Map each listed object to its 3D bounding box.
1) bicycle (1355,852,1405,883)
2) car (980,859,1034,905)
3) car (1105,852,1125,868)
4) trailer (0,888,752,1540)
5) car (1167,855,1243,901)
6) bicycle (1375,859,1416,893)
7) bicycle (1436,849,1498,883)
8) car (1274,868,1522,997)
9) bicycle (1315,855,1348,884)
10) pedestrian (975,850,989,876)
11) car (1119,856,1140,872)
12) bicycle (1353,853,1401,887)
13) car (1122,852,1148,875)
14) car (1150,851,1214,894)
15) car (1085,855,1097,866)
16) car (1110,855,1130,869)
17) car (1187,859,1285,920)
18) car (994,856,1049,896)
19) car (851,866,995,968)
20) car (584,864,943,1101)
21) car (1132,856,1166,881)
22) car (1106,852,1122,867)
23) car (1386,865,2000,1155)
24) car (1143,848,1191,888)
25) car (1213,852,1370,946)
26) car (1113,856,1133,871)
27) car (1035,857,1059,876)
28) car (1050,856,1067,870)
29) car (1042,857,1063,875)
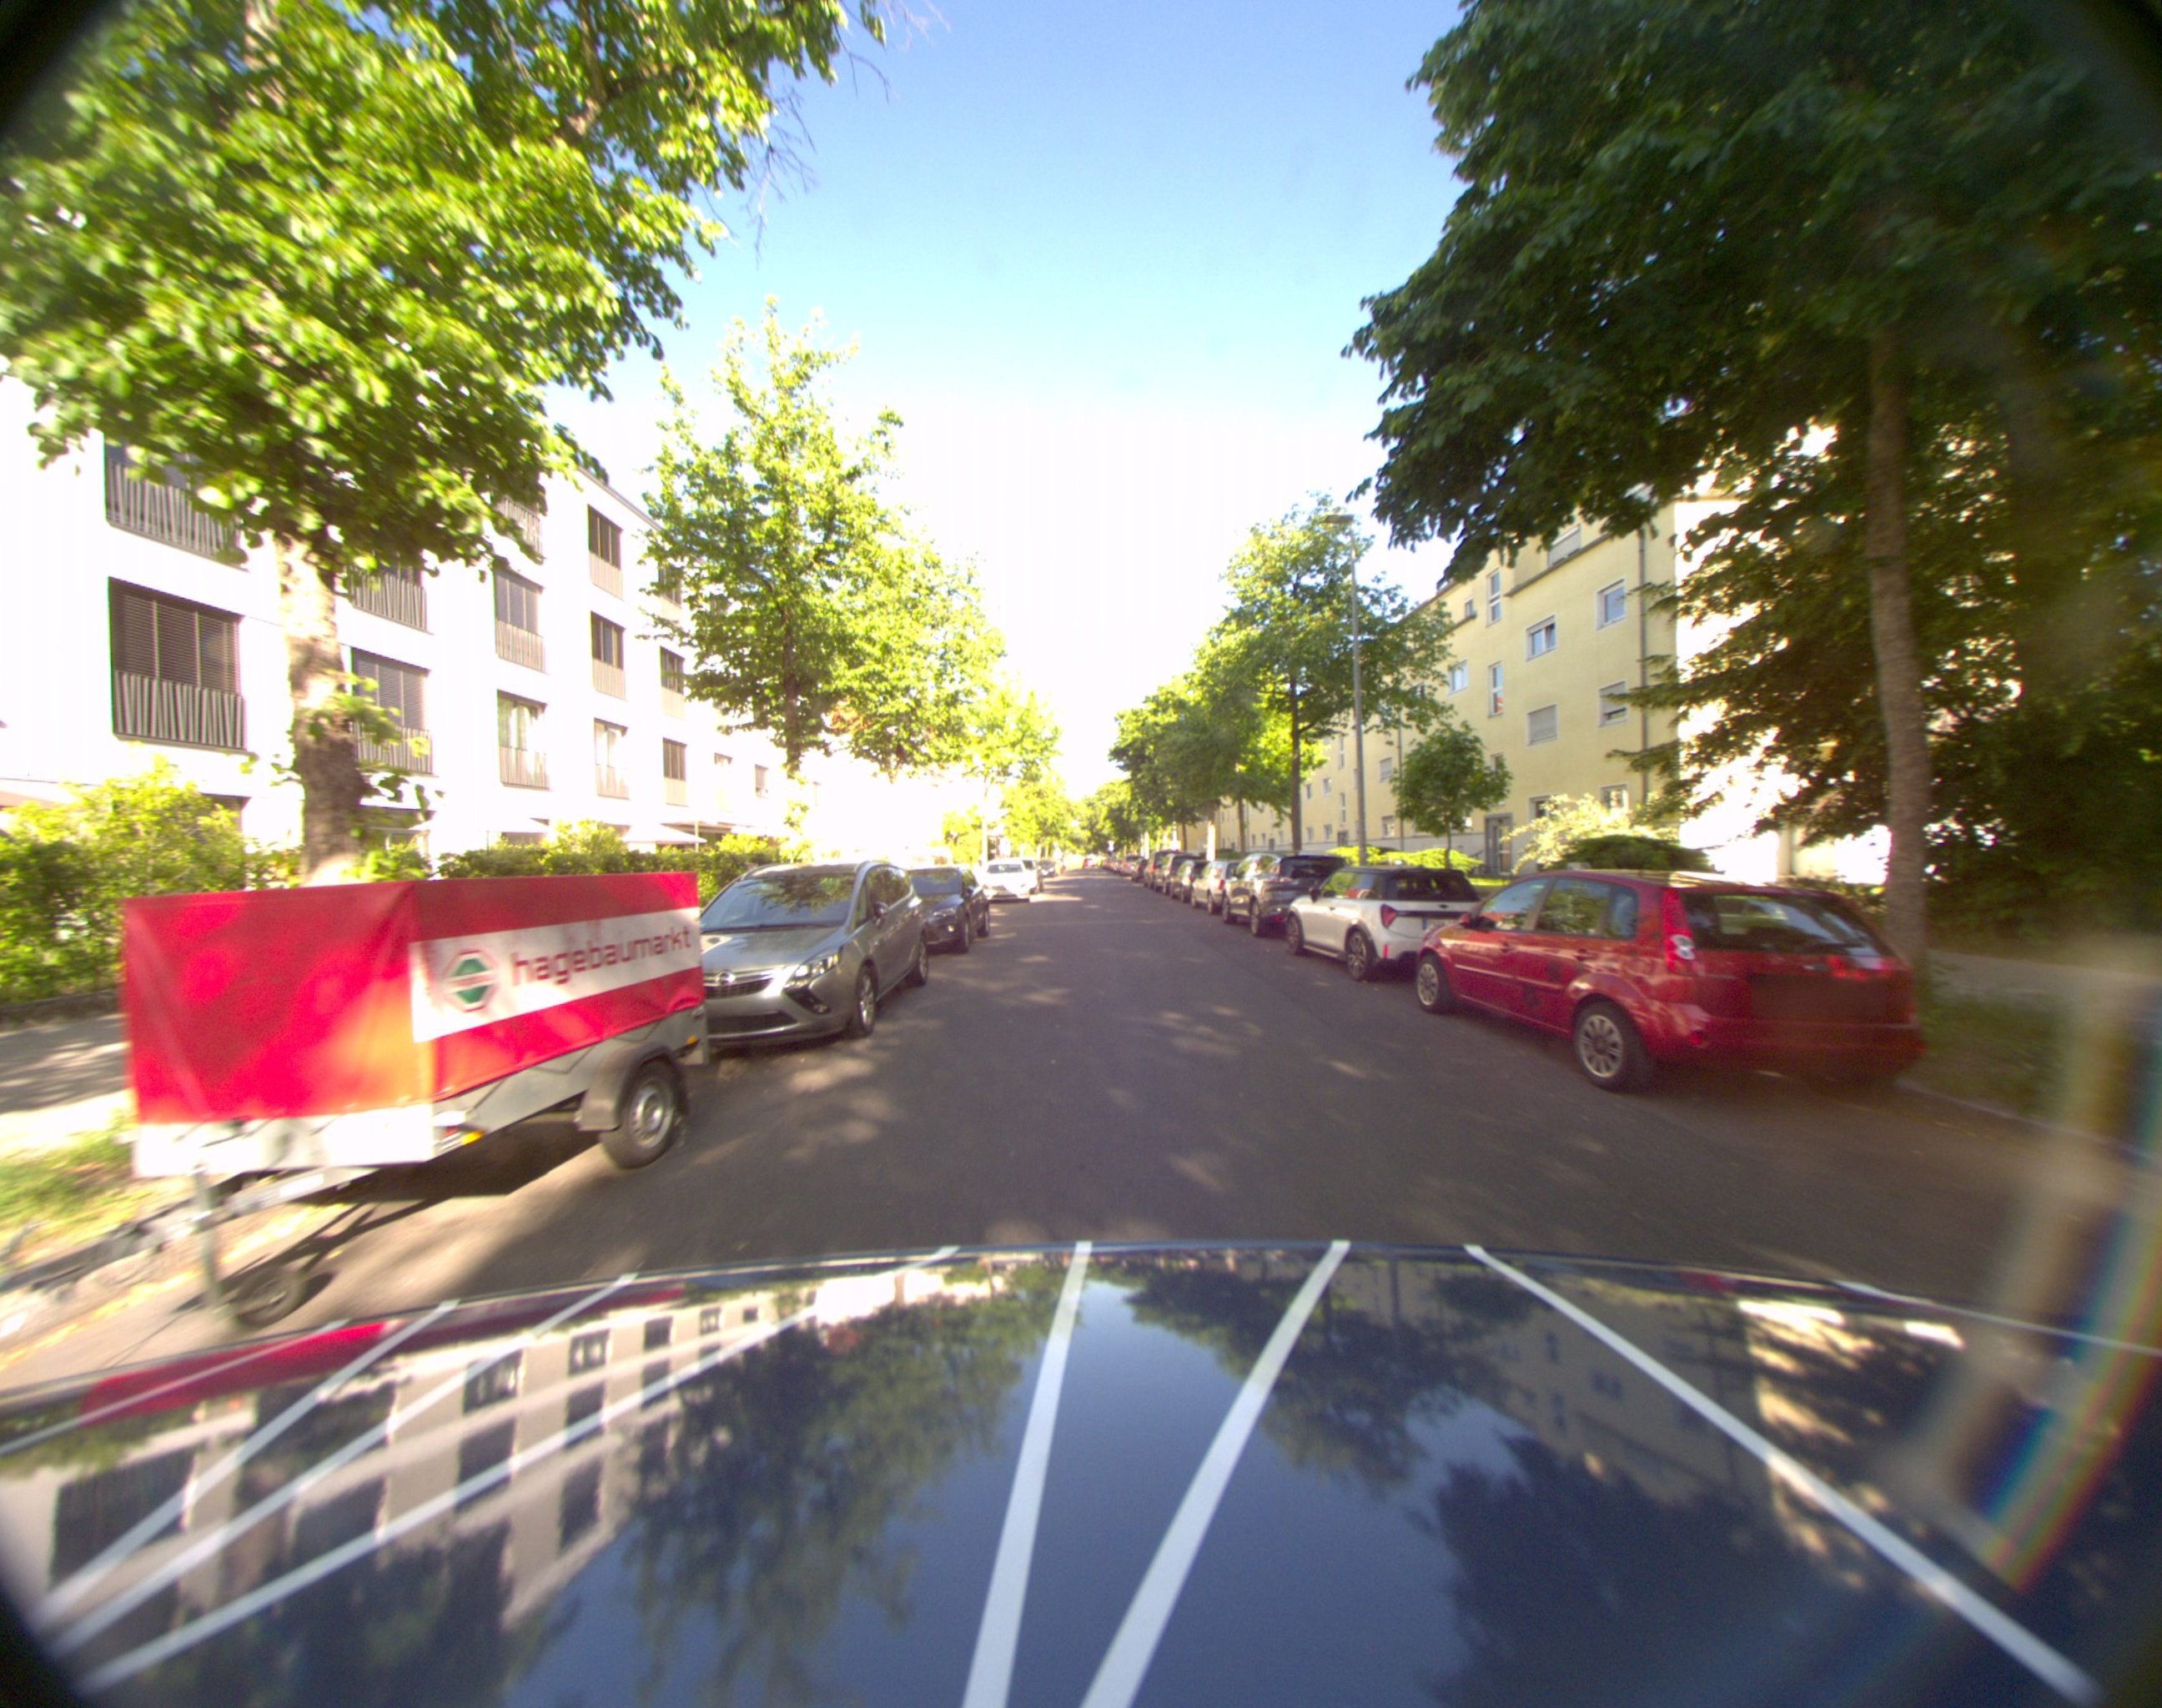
[{"bbox_3d":[12.256,0.539,31.143,1.826,1.218,0.517,-2,1,1],"label":"bicycle"},{"bbox_3d":[-2.735,1.005,28.770,1.786,1.509,4.685,-2,0,-4],"label":"car"},{"bbox_3d":[3.971,0.649,90.341,1.891,1.797,3.913,-1,0,-4],"label":"car"},{"bbox_3d":[-3.145,1.068,3.629,1.578,1.569,3.192,-4,0,2],"label":"trailer"},{"bbox_3d":[4.181,0.766,26.284,1.798,1.443,4.489,-1,0,-1],"label":"car"},{"bbox_3d":[10.439,0.713,25.288,0.573,1.055,1.933,-2,0,1],"label":"bicycle"},{"bbox_3d":[14.842,0.439,29.250,1.957,1.218,0.777,-2,1,-3],"label":"bicycle"},{"bbox_3d":[4.117,0.925,10.681,1.658,1.365,4.188,-1,0,-1],"label":"car"},{"bbox_3d":[10.513,0.619,31.944,0.596,1.183,2.260,-1,0,-1],"label":"bicycle"},{"bbox_3d":[-7.760,0.714,59.515,0.907,2.002,1.006,-1,1,0],"label":"pedestrian"},{"bbox_3d":[4.379,0.881,68.979,1.606,1.382,3.812,-1,0,0],"label":"car"},{"bbox_3d":[11.266,0.591,28.940,1.640,1.218,0.517,-2,1,-10],"label":"bicycle"},{"bbox_3d":[4.225,0.713,59.777,1.864,1.718,4.000,0,0,1],"label":"car"},{"bbox_3d":[4.162,0.711,31.986,1.798,1.676,4.525,-1,0,-3],"label":"car"},{"bbox_3d":[1.496,0.954,109.355,1.665,1.456,3.447,-1,0,1],"label":"car"},{"bbox_3d":[4.312,0.840,84.925,1.805,1.470,3.999,-1,0,-3],"label":"car"},{"bbox_3d":[4.189,0.913,21.263,1.711,1.472,4.489,-1,0,-1],"label":"car"},{"bbox_3d":[-2.625,0.938,34.554,1.902,1.638,4.862,-2,0,2],"label":"car"},{"bbox_3d":[-2.784,1.057,14.395,1.722,1.507,4.344,-2,0,1],"label":"car"},{"bbox_3d":[-2.857,1.019,8.218,1.797,1.633,4.818,-4,0,-1],"label":"car"},{"bbox_3d":[4.250,0.867,47.999,1.780,1.462,4.063,1,0,0],"label":"car"},{"bbox_3d":[4.150,0.695,95.269,1.713,1.752,3.712,-1,1,-1],"label":"car"},{"bbox_3d":[4.170,0.879,6.184,1.658,1.496,4.068,-1,0,-1],"label":"car"},{"bbox_3d":[4.152,0.643,37.329,1.798,1.839,4.866,-1,0,0],"label":"car"},{"bbox_3d":[4.157,0.791,15.958,1.846,1.647,5.087,-1,0,0],"label":"car"},{"bbox_3d":[4.045,0.888,73.464,1.606,1.382,3.812,-1,0,0],"label":"car"},{"bbox_3d":[-2.717,1.018,61.592,1.670,1.456,3.536,-1,0,1],"label":"car"},{"bbox_3d":[-2.404,0.944,81.705,1.670,1.456,3.536,-1,0,1],"label":"car"},{"bbox_3d":[-2.461,1.012,66.373,1.670,1.456,3.536,-1,0,1],"label":"car"}]
